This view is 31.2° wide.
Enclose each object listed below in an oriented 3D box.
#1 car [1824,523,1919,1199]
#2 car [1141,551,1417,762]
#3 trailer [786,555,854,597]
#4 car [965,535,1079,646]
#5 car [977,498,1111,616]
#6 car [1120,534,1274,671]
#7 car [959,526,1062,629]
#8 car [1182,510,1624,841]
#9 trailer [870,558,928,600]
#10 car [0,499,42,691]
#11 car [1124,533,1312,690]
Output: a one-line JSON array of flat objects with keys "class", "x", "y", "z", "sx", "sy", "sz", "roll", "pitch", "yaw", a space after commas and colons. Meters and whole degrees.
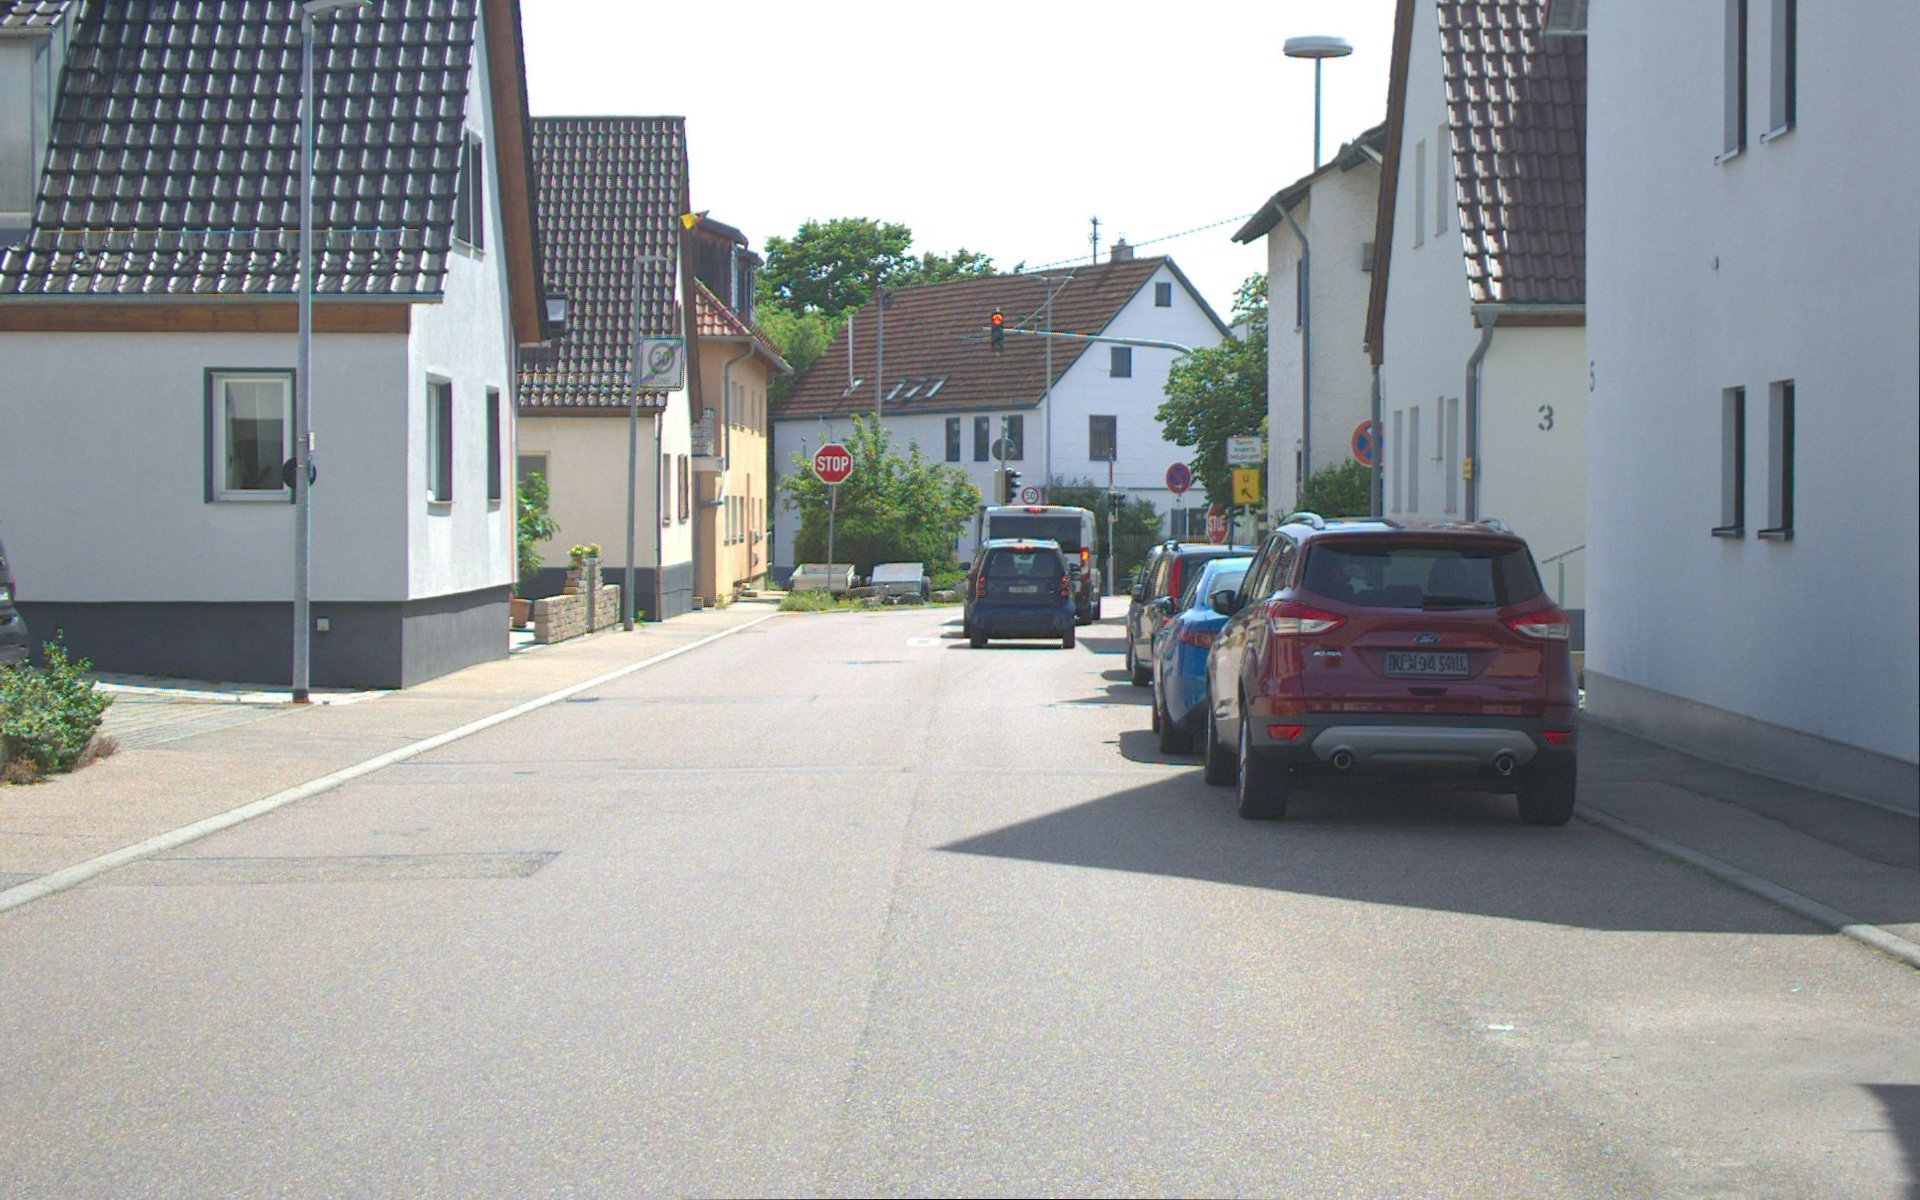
[{"class": "car", "x": 2.453, "y": 0.677, "z": 4.831, "sx": 1.673, "sy": 1.553, "sz": 3.040, "roll": 1, "pitch": 1, "yaw": 0}, {"class": "car", "x": 2.332, "y": 0.358, "z": 26.151, "sx": 1.763, "sy": 1.419, "sz": 4.592, "roll": 1, "pitch": 1, "yaw": 2}, {"class": "trailer", "x": -3.300, "y": -0.563, "z": 80.972, "sx": 1.502, "sy": 0.924, "sz": 1.012, "roll": 2, "pitch": 1, "yaw": 2}, {"class": "car", "x": 0.947, "y": -0.169, "z": 51.036, "sx": 1.516, "sy": 1.561, "sz": 3.184, "roll": 1, "pitch": 1, "yaw": 4}, {"class": "car", "x": 1.642, "y": -0.827, "z": 65.257, "sx": 2.129, "sy": 2.151, "sz": 4.735, "roll": 0, "pitch": 1, "yaw": 6}, {"class": "car", "x": 2.733, "y": 0.001, "z": 40.166, "sx": 1.498, "sy": 1.508, "sz": 3.362, "roll": 1, "pitch": 1, "yaw": -1}, {"class": "car", "x": 0.848, "y": -0.388, "z": 56.013, "sx": 1.516, "sy": 1.619, "sz": 3.184, "roll": 0, "pitch": 1, "yaw": 4}, {"class": "car", "x": 2.455, "y": 0.352, "z": 20.075, "sx": 1.875, "sy": 1.694, "sz": 4.184, "roll": 1, "pitch": 1, "yaw": -2}, {"class": "trailer", "x": -1.438, "y": -0.501, "z": 80.684, "sx": 1.311, "sy": 0.967, "sz": 0.933, "roll": 0, "pitch": 1, "yaw": 2}, {"class": "car", "x": -9.414, "y": -0.149, "z": 28.420, "sx": 3.110, "sy": 1.571, "sz": 1.714, "roll": 4, "pitch": 1, "yaw": -1}, {"class": "car", "x": 2.650, "y": 0.086, "z": 35.958, "sx": 1.567, "sy": 1.540, "sz": 3.450, "roll": 1, "pitch": 1, "yaw": -2}]
